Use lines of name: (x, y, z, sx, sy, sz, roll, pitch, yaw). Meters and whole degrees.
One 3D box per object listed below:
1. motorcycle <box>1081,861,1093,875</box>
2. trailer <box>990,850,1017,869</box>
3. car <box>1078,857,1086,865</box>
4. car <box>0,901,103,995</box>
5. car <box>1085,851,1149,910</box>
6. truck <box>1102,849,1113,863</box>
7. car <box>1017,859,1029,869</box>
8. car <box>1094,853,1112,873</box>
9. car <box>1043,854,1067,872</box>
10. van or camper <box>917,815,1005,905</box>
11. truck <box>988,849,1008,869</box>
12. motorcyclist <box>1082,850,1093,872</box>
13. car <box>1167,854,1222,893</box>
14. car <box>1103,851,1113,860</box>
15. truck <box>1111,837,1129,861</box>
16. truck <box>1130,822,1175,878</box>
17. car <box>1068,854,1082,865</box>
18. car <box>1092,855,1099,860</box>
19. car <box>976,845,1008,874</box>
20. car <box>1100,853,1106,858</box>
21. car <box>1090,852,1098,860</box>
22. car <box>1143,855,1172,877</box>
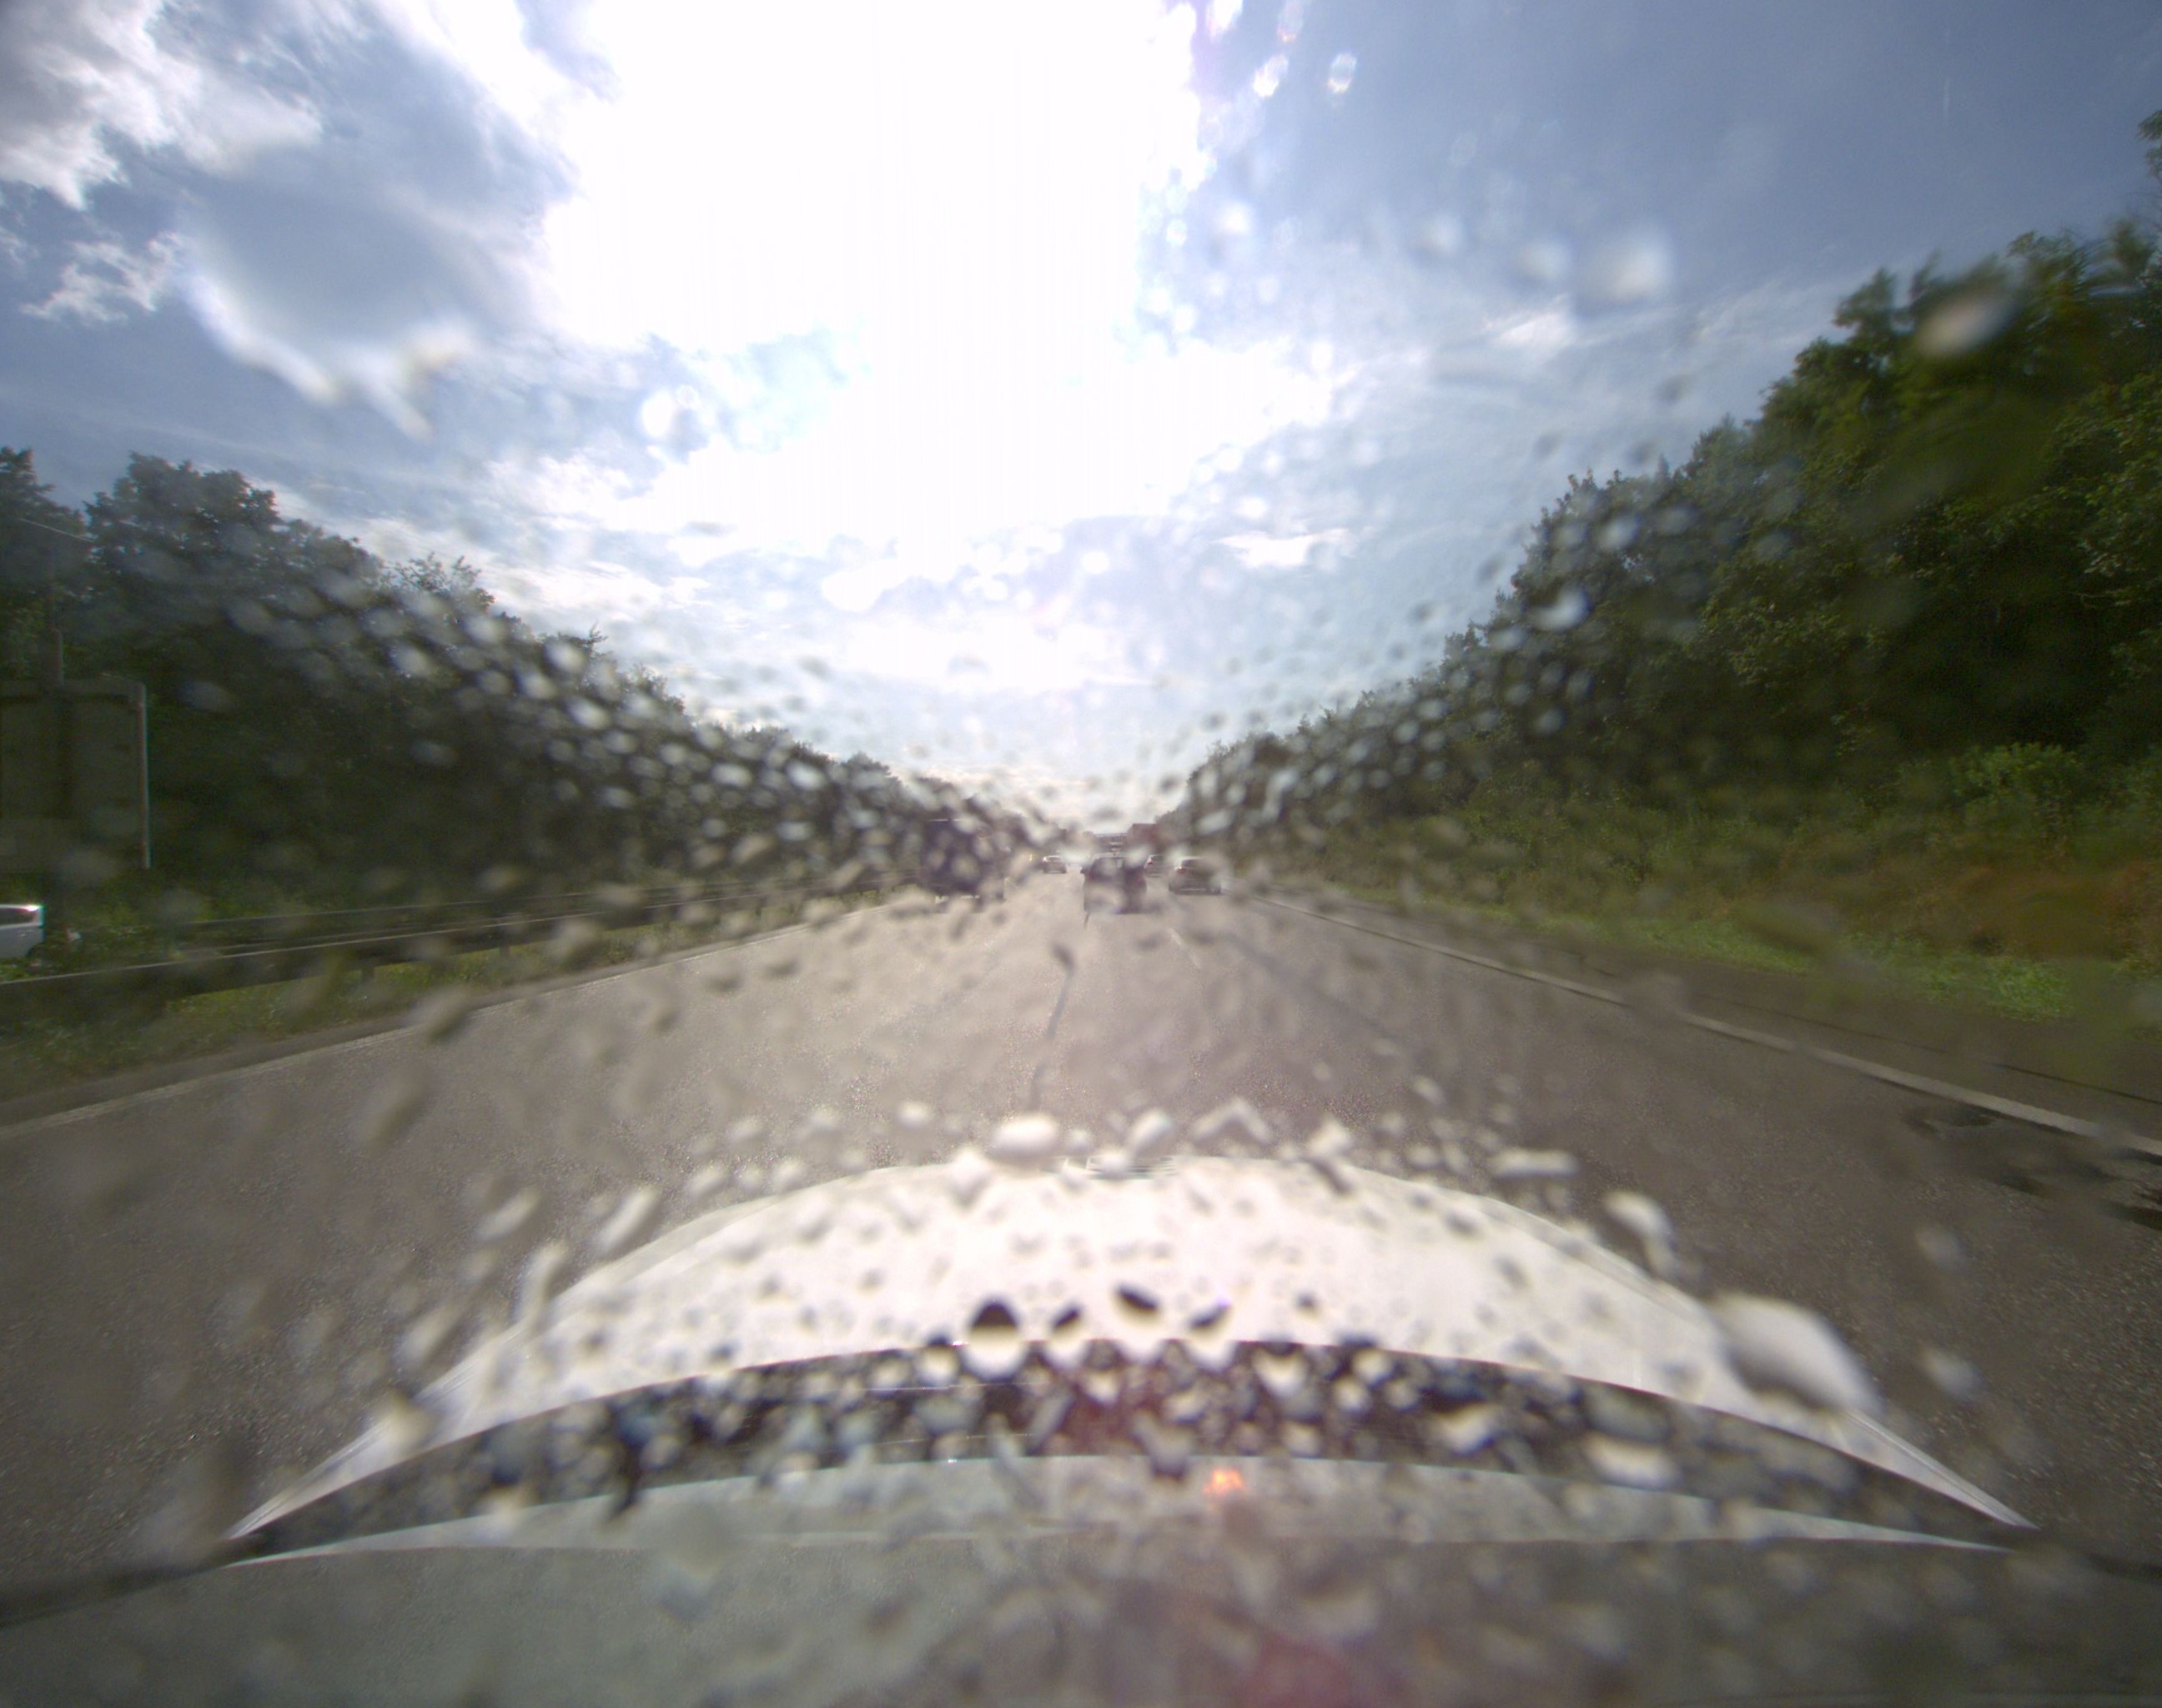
motorcycle: (0.491, 1.056, 62.688, 0.887, 1.000, 2.896, 0, 0, 1)
trailer: (-15.807, 1.099, 167.245, 2.978, 3.831, 17.965, 0, 0, 3)
car: (0.183, 1.159, 138.965, 1.455, 1.393, 3.312, 0, 0, 1)
car: (-20.888, 1.790, 14.523, 1.725, 1.663, 4.237, 0, 0, 1)
car: (0.993, 0.714, 23.568, 1.711, 1.568, 3.485, 0, 0, 1)
truck: (5.665, 0.505, 172.458, 2.184, 2.875, 4.850, 0, 0, 1)
car: (-11.826, 1.969, 167.204, 1.860, 1.946, 5.046, 0, 0, 3)
car: (1.894, 0.796, 71.611, 1.526, 1.746, 3.485, 0, 0, 1)
car: (-2.216, 0.750, 69.670, 1.848, 1.551, 3.485, 0, 0, 1)
van or camper: (-3.813, 0.191, 26.819, 1.986, 2.669, 5.385, 0, 0, 1)
truck: (-16.207, 1.058, 159.279, 2.978, 3.831, 6.869, 0, 0, 3)
motorcyclist: (0.501, 0.536, 62.648, 0.799, 1.633, 1.013, 0, -1, 1)
car: (4.445, 0.731, 32.473, 1.686, 1.425, 4.221, 0, 0, 1)
car: (3.970, 0.250, 120.059, 1.547, 1.383, 3.210, 0, 0, 1)
truck: (7.321, -0.871, 154.016, 3.243, 4.479, 12.429, 0, 0, 3)
truck: (6.581, -0.288, 77.790, 3.635, 4.720, 16.790, 0, 0, 3)
car: (-0.833, 0.757, 111.753, 1.745, 1.457, 3.390, 0, 0, 1)
car: (3.345, 0.818, 190.743, 1.544, 1.267, 3.485, 0, 0, 1)
car: (-7.875, 0.494, 72.618, 2.175, 2.452, 5.749, 0, 0, 1)
car: (6.906, 0.450, 256.817, 1.986, 1.728, 4.002, -1, 0, 2)
car: (3.394, 0.576, 212.826, 1.986, 2.013, 4.001, -2, 0, 1)
car: (5.187, 0.784, 55.350, 1.674, 1.442, 3.905, 0, 0, 1)
